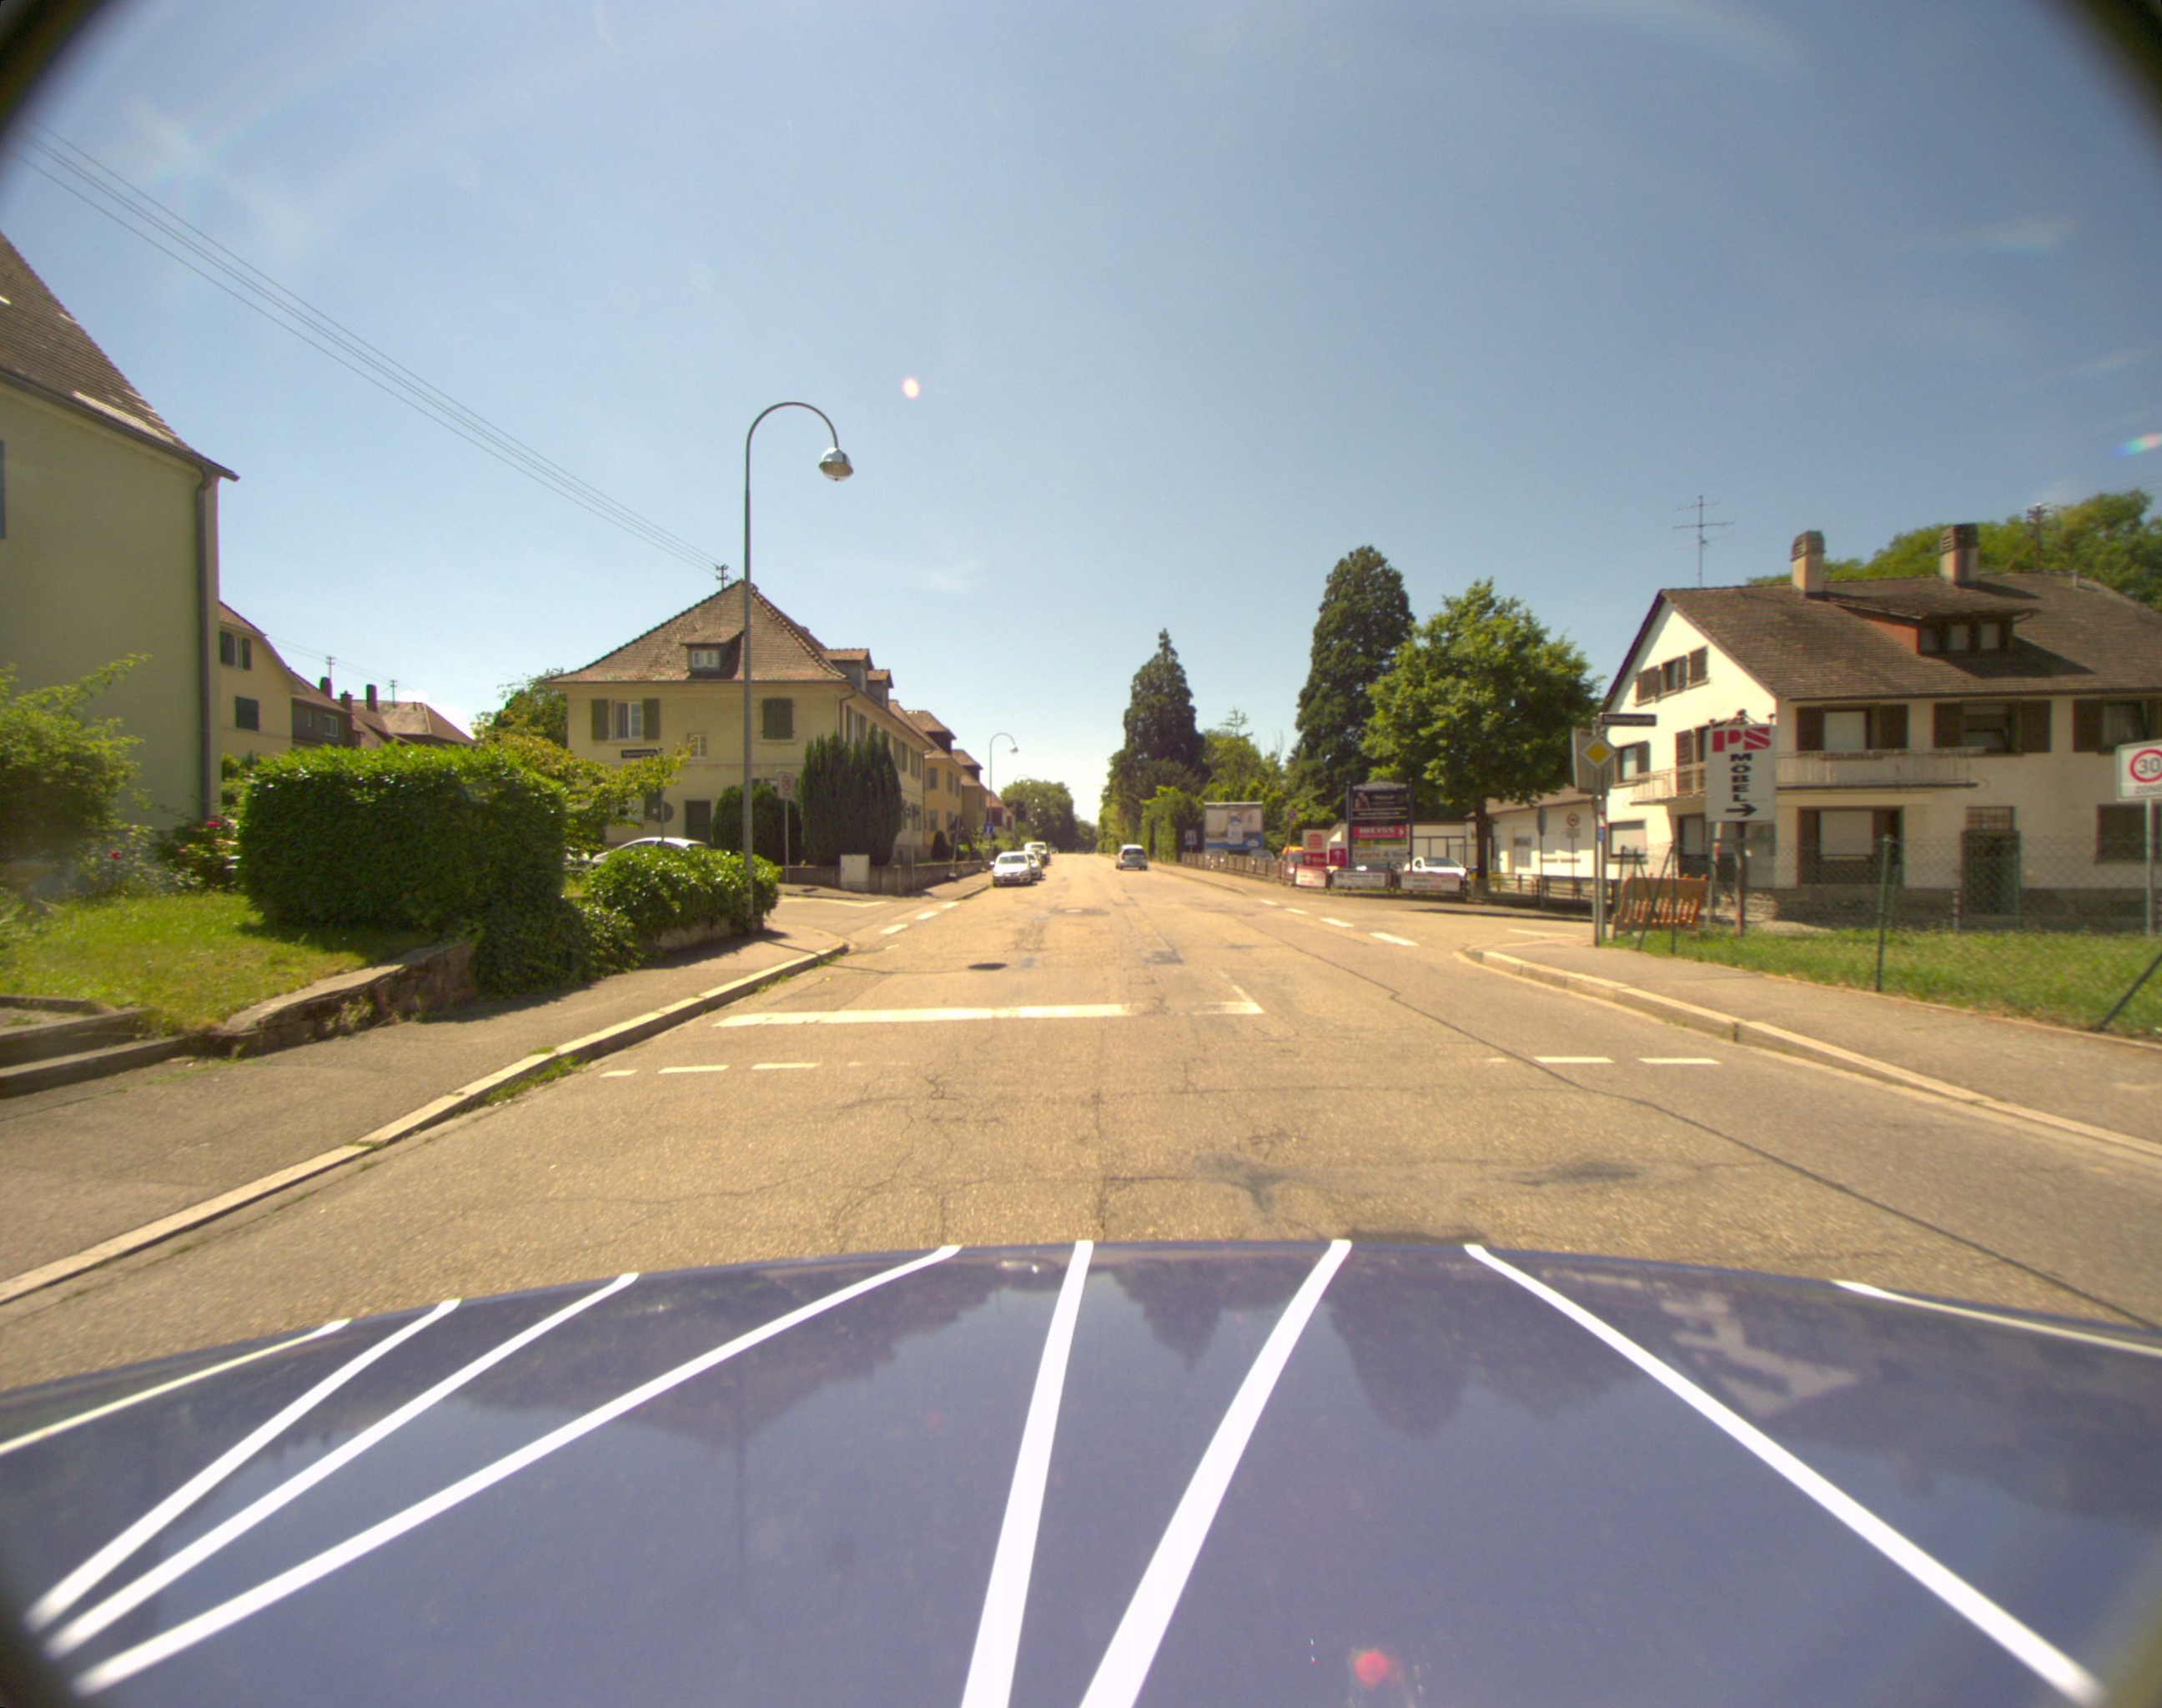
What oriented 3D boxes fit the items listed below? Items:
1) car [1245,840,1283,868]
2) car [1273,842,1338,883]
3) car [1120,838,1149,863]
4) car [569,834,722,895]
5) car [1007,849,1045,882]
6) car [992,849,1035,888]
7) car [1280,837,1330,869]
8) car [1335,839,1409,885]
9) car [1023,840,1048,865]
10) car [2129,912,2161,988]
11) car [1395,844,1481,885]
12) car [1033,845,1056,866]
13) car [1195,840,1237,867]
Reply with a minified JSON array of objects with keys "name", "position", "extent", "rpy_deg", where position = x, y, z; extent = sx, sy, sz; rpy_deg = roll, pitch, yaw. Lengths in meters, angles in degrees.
[{"name":"car","position":[11.276,-0.043,47.014],"extent":[1.798,1.510,4.000],"rpy_deg":[0,3,7]},{"name":"car","position":[8.976,0.299,30.699],"extent":[1.798,1.509,4.001],"rpy_deg":[0,1,5]},{"name":"car","position":[3.434,-0.247,49.367],"extent":[1.656,1.553,3.884],"rpy_deg":[0,2,1]},{"name":"car","position":[-12.265,0.268,21.512],"extent":[3.412,1.445,1.613],"rpy_deg":[3,2,5]},{"name":"car","position":[-2.693,0.528,38.111],"extent":[1.671,1.427,3.998],"rpy_deg":[-3,2,-2]},{"name":"car","position":[-2.888,0.591,33.252],"extent":[1.671,1.457,3.998],"rpy_deg":[-2,1,-3]},{"name":"car","position":[13.521,-0.089,46.088],"extent":[1.799,1.733,3.997],"rpy_deg":[0,3,-1]},{"name":"car","position":[11.511,0.232,30.365],"extent":[1.797,1.669,4.626],"rpy_deg":[0,1,9]},{"name":"car","position":[-3.748,-0.182,63.006],"extent":[1.852,1.859,4.688],"rpy_deg":[-3,2,-2]},{"name":"car","position":[22.718,1.901,13.958],"extent":[3.994,1.426,1.801],"rpy_deg":[1,1,7]},{"name":"car","position":[13.845,0.359,29.707],"extent":[1.798,1.426,4.001],"rpy_deg":[0,1,5]},{"name":"car","position":[-2.748,0.078,57.503],"extent":[1.600,1.495,3.998],"rpy_deg":[-2,2,-3]},{"name":"car","position":[8.322,-0.045,47.111],"extent":[1.799,1.510,3.997],"rpy_deg":[0,3,-1]}]
